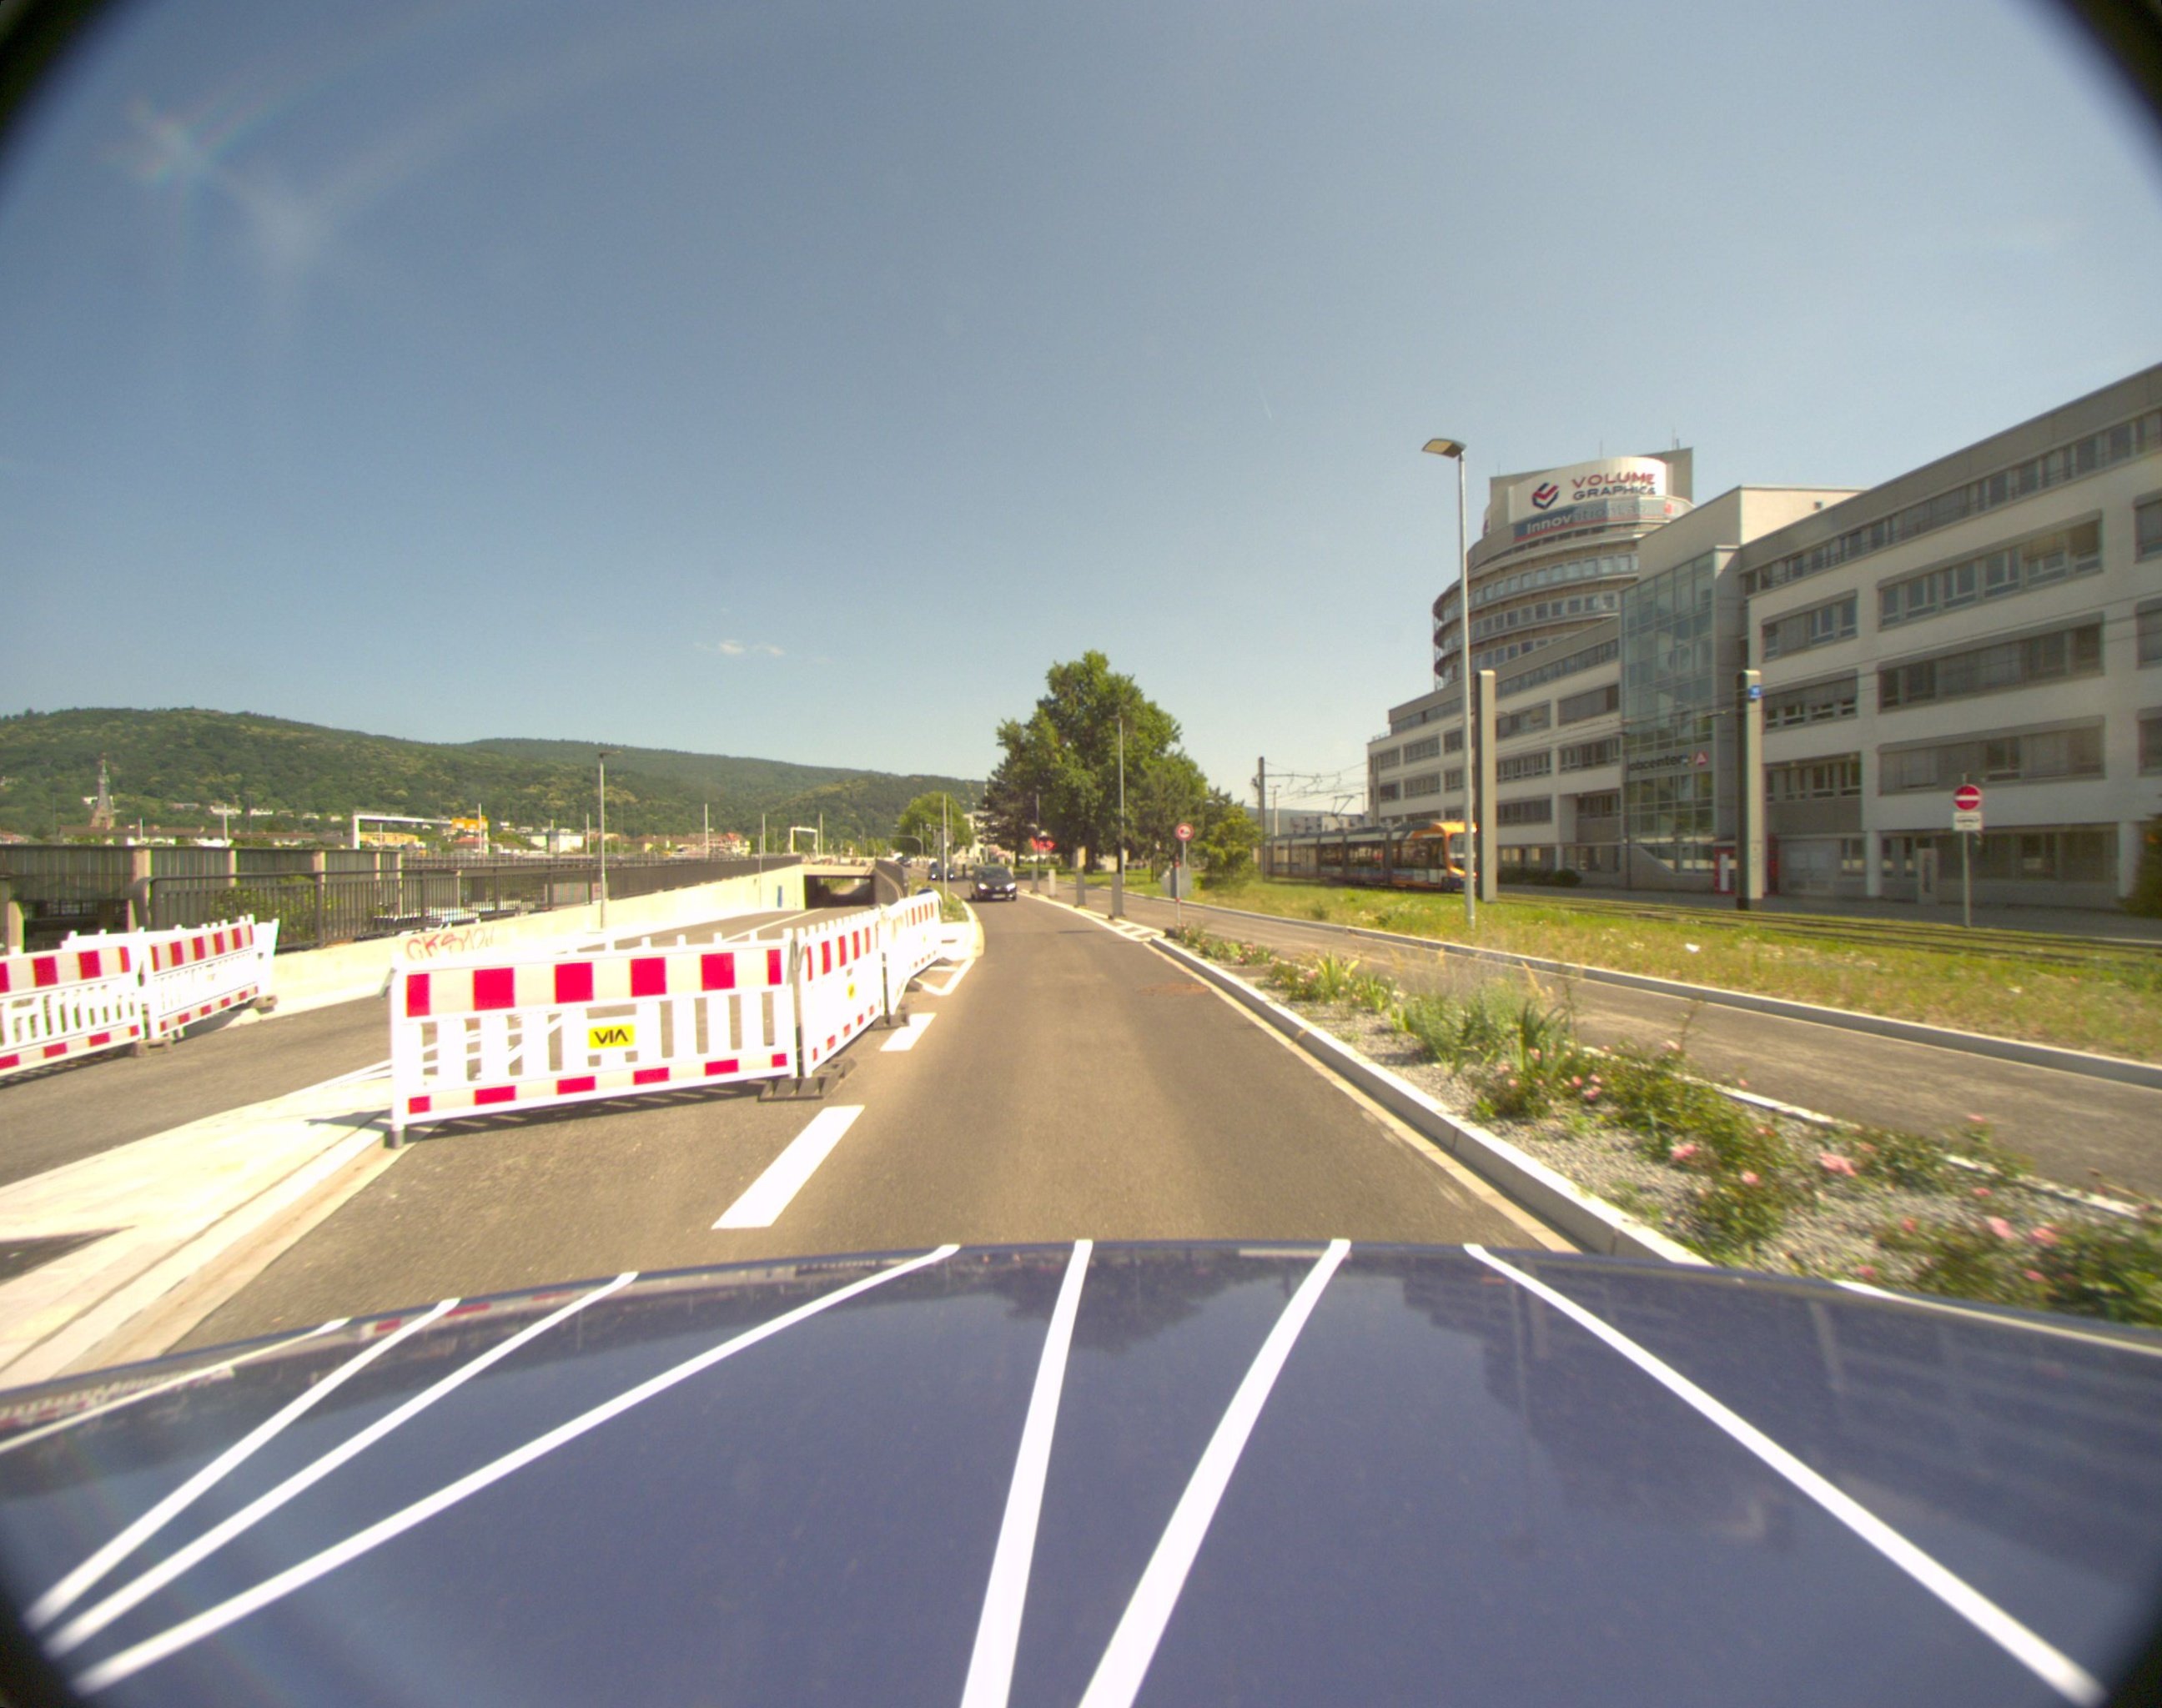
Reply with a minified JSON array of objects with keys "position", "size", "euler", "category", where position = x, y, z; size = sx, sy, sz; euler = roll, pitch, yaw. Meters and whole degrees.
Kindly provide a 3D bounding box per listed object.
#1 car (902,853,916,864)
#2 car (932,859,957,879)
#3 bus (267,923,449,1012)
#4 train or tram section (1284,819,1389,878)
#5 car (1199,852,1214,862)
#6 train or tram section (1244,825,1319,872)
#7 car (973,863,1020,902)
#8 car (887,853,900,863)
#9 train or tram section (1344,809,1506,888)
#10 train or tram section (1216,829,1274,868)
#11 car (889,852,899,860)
[{"position":[-23.947,0.637,105.742],"size":[1.621,1.433,3.761],"euler":[-1,1,-18],"category":"car"},{"position":[-10.931,1.154,60.593],"size":[1.620,1.433,3.762],"euler":[-1,1,-15],"category":"car"},{"position":[-44.747,6.777,47.828],"size":[2.552,3.511,12.522],"euler":[-2,1,-15],"category":"bus"},{"position":[16.923,-0.365,51.522],"size":[2.632,3.431,11.777],"euler":[-2,1,-2],"category":"train or tram section"},{"position":[20.696,0.449,125.160],"size":[1.891,1.493,3.802],"euler":[-2,1,0],"category":"car"},{"position":[16.436,-0.461,63.299],"size":[2.632,3.431,11.777],"euler":[-2,1,-2],"category":"train or tram section"},{"position":[-3.569,1.135,31.731],"size":[1.620,1.433,3.702],"euler":[-1,1,-11],"category":"car"},{"position":[-29.908,0.604,120.953],"size":[1.621,1.433,3.761],"euler":[-1,1,-19],"category":"car"},{"position":[17.393,-0.284,39.760],"size":[2.632,3.431,11.777],"euler":[-2,1,-2],"category":"train or tram section"},{"position":[15.965,-0.561,75.140],"size":[2.632,3.431,11.777],"euler":[-2,1,-2],"category":"train or tram section"},{"position":[-38.296,0.388,155.713],"size":[1.621,1.433,3.761],"euler":[-1,1,-19],"category":"car"}]
